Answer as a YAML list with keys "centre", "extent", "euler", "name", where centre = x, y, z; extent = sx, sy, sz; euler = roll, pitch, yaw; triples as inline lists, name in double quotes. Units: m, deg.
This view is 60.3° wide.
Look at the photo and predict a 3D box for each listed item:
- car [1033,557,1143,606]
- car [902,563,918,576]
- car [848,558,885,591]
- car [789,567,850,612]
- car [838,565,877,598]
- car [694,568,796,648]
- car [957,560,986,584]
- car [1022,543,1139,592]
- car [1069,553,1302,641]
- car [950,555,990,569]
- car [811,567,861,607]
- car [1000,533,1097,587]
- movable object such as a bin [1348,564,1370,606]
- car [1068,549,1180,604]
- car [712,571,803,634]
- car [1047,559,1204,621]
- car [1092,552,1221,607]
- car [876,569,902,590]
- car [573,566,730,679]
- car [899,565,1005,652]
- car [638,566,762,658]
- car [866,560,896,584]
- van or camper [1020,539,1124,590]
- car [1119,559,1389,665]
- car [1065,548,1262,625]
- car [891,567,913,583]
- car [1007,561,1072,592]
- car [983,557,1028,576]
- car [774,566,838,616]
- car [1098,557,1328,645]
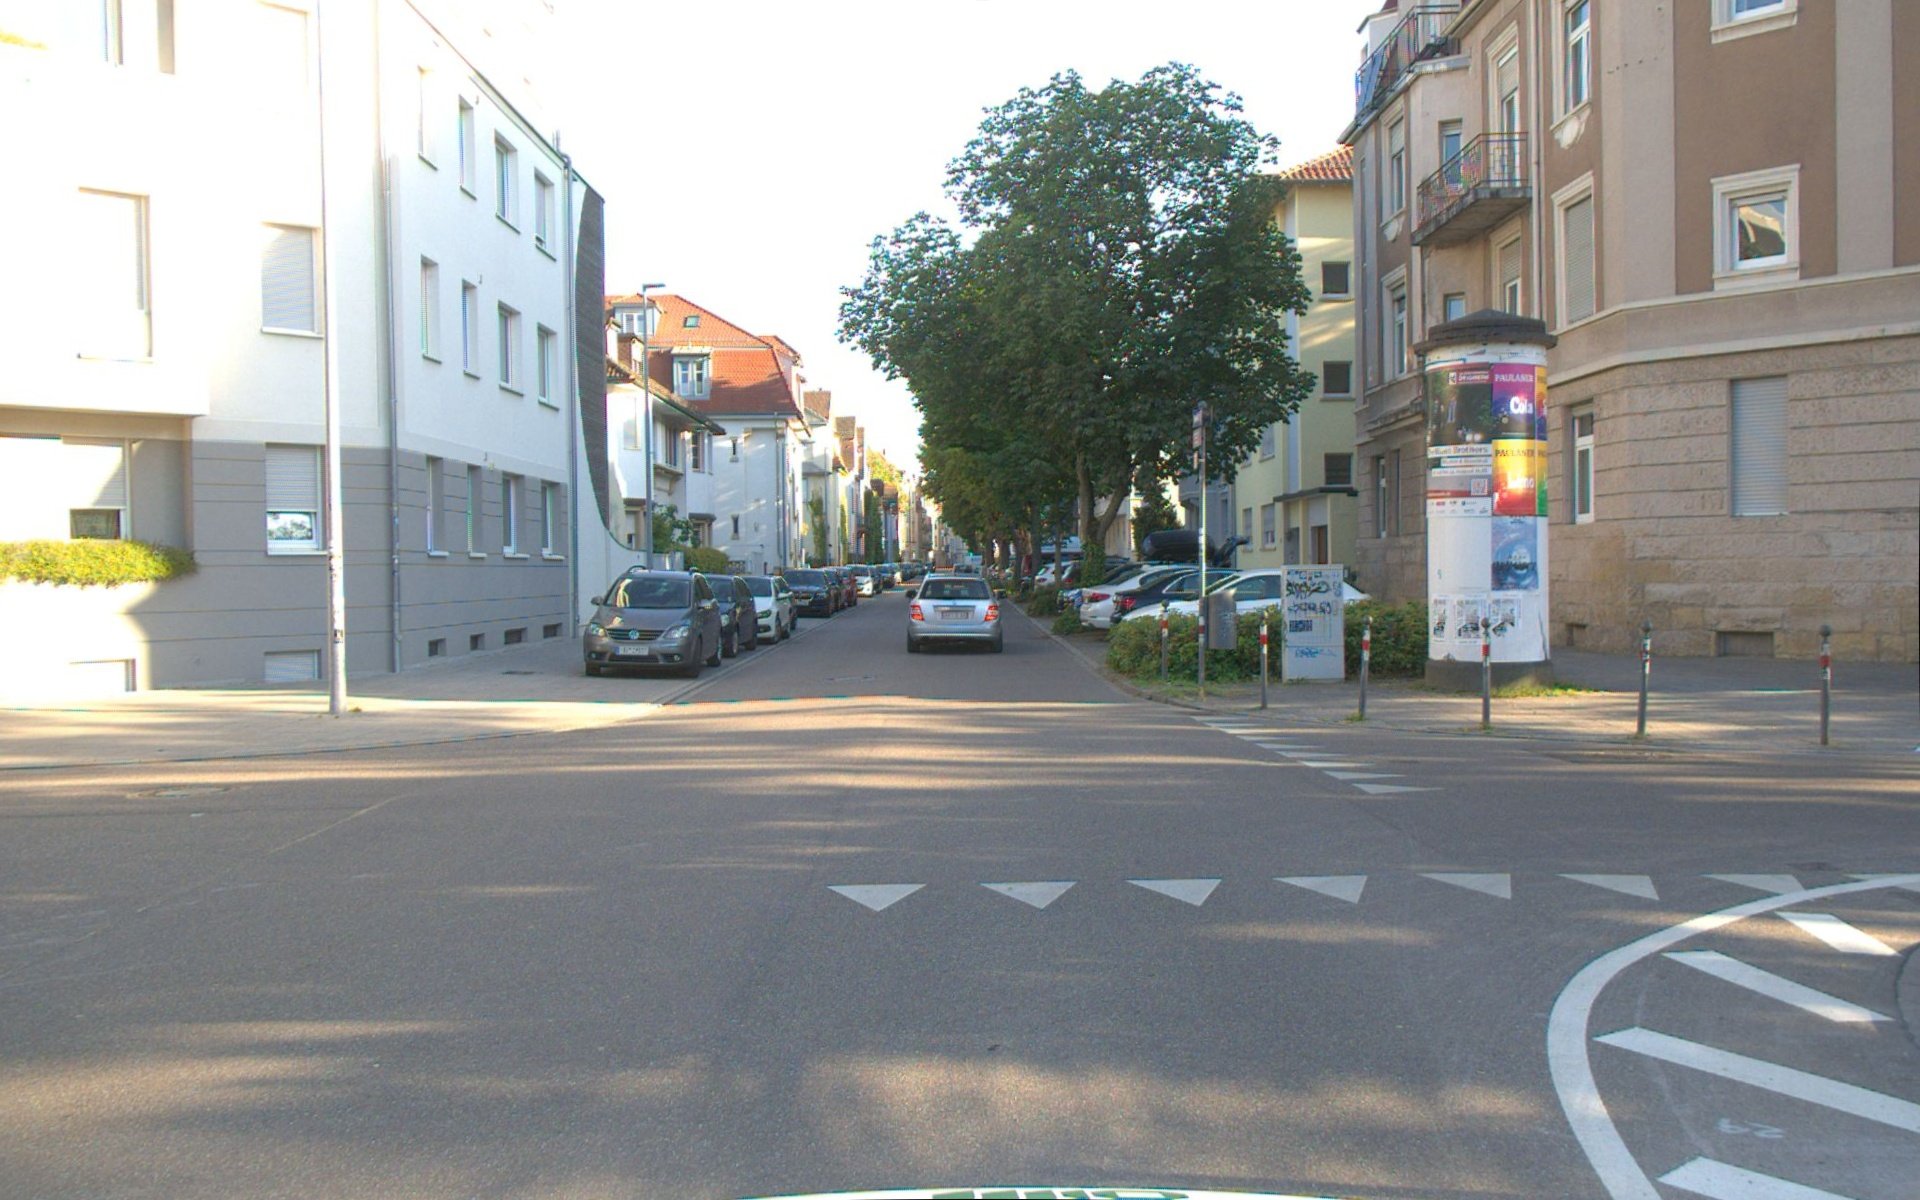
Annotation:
- centre: [4.412, -0.657, 57.390]
  extent: [3.655, 1.585, 1.725]
  euler: [-2, 1, -1]
  name: "car"
- centre: [-5.663, -3.498, 187.843]
  extent: [1.762, 1.411, 3.606]
  euler: [-1, 2, 0]
  name: "car"
- centre: [-4.968, -1.395, 88.615]
  extent: [1.762, 1.673, 3.857]
  euler: [-1, 2, 0]
  name: "car"
- centre: [-4.966, -0.405, 59.052]
  extent: [1.747, 1.524, 4.700]
  euler: [-1, 1, 0]
  name: "car"
- centre: [-4.896, -0.899, 79.215]
  extent: [1.625, 1.525, 3.754]
  euler: [-1, 1, 0]
  name: "car"
- centre: [-4.624, 0.115, 36.113]
  extent: [1.846, 1.618, 4.089]
  euler: [-1, 1, -3]
  name: "car"
- centre: [0.806, -1.875, 111.787]
  extent: [1.779, 1.498, 4.218]
  euler: [-1, 0, 2]
  name: "car"
- centre: [4.763, -1.293, 65.842]
  extent: [4.531, 1.868, 1.954]
  euler: [0, 1, -1]
  name: "car"
- centre: [4.597, -0.087, 34.079]
  extent: [4.391, 1.552, 1.952]
  euler: [-3, 2, -6]
  name: "car"
- centre: [1.103, -4.170, 181.127]
  extent: [4.180, 1.500, 1.530]
  euler: [-1, 0, 33]
  name: "car"
- centre: [-4.820, -0.536, 64.744]
  extent: [1.625, 1.514, 3.754]
  euler: [-1, 1, 0]
  name: "car"
- centre: [5.140, -2.336, 96.941]
  extent: [5.431, 3.020, 2.471]
  euler: [-1, 1, -3]
  name: "car"
- centre: [10.493, -0.399, 43.506]
  extent: [0.446, 1.105, 0.532]
  euler: [-1, 0, 0]
  name: "movable object such as a bin"
- centre: [5.401, -0.785, 54.831]
  extent: [3.475, 1.683, 1.725]
  euler: [-2, 1, -1]
  name: "car"
- centre: [-4.951, 0.024, 40.941]
  extent: [1.722, 1.472, 4.142]
  euler: [-1, 1, 0]
  name: "car"
- centre: [4.568, -0.295, 46.036]
  extent: [4.105, 1.585, 1.874]
  euler: [-2, 1, -1]
  name: "car"
- centre: [6.134, -0.660, 51.919]
  extent: [3.844, 1.585, 1.726]
  euler: [-2, 2, 1]
  name: "car"
- centre: [-5.244, -1.518, 122.974]
  extent: [1.762, 1.508, 3.857]
  euler: [-1, 2, 0]
  name: "car"
- centre: [-4.781, 0.287, 26.134]
  extent: [1.846, 1.618, 4.089]
  euler: [-1, 1, -3]
  name: "car"
- centre: [-0.079, 0.129, 31.143]
  extent: [1.779, 1.498, 4.218]
  euler: [-1, 0, 2]
  name: "car"
- centre: [-4.880, 0.174, 31.553]
  extent: [1.846, 1.618, 4.089]
  euler: [-1, 1, -3]
  name: "car"
- centre: [-5.069, -1.810, 106.903]
  extent: [1.762, 1.508, 3.857]
  euler: [-1, 2, 0]
  name: "car"
- centre: [4.600, -1.459, 68.223]
  extent: [4.223, 2.048, 2.001]
  euler: [0, 1, 2]
  name: "van or camper"
- centre: [4.645, 0.165, 26.563]
  extent: [3.966, 1.531, 1.862]
  euler: [-2, 1, -1]
  name: "car"
- centre: [4.833, -0.341, 39.691]
  extent: [4.435, 1.669, 1.874]
  euler: [-2, 1, -1]
  name: "car"
- centre: [-5.145, -2.227, 146.741]
  extent: [1.762, 1.411, 3.606]
  euler: [-1, 2, 0]
  name: "car"
- centre: [4.498, -1.340, 93.991]
  extent: [3.522, 1.688, 1.649]
  euler: [-1, 1, -2]
  name: "car"
- centre: [3.857, -2.856, 139.854]
  extent: [3.765, 1.508, 1.805]
  euler: [-1, 1, 1]
  name: "car"
- centre: [-4.873, -0.312, 52.792]
  extent: [1.817, 1.524, 4.653]
  euler: [-1, 1, -3]
  name: "car"
- centre: [4.763, -0.002, 31.432]
  extent: [4.059, 1.473, 1.673]
  euler: [-2, 1, -1]
  name: "car"
